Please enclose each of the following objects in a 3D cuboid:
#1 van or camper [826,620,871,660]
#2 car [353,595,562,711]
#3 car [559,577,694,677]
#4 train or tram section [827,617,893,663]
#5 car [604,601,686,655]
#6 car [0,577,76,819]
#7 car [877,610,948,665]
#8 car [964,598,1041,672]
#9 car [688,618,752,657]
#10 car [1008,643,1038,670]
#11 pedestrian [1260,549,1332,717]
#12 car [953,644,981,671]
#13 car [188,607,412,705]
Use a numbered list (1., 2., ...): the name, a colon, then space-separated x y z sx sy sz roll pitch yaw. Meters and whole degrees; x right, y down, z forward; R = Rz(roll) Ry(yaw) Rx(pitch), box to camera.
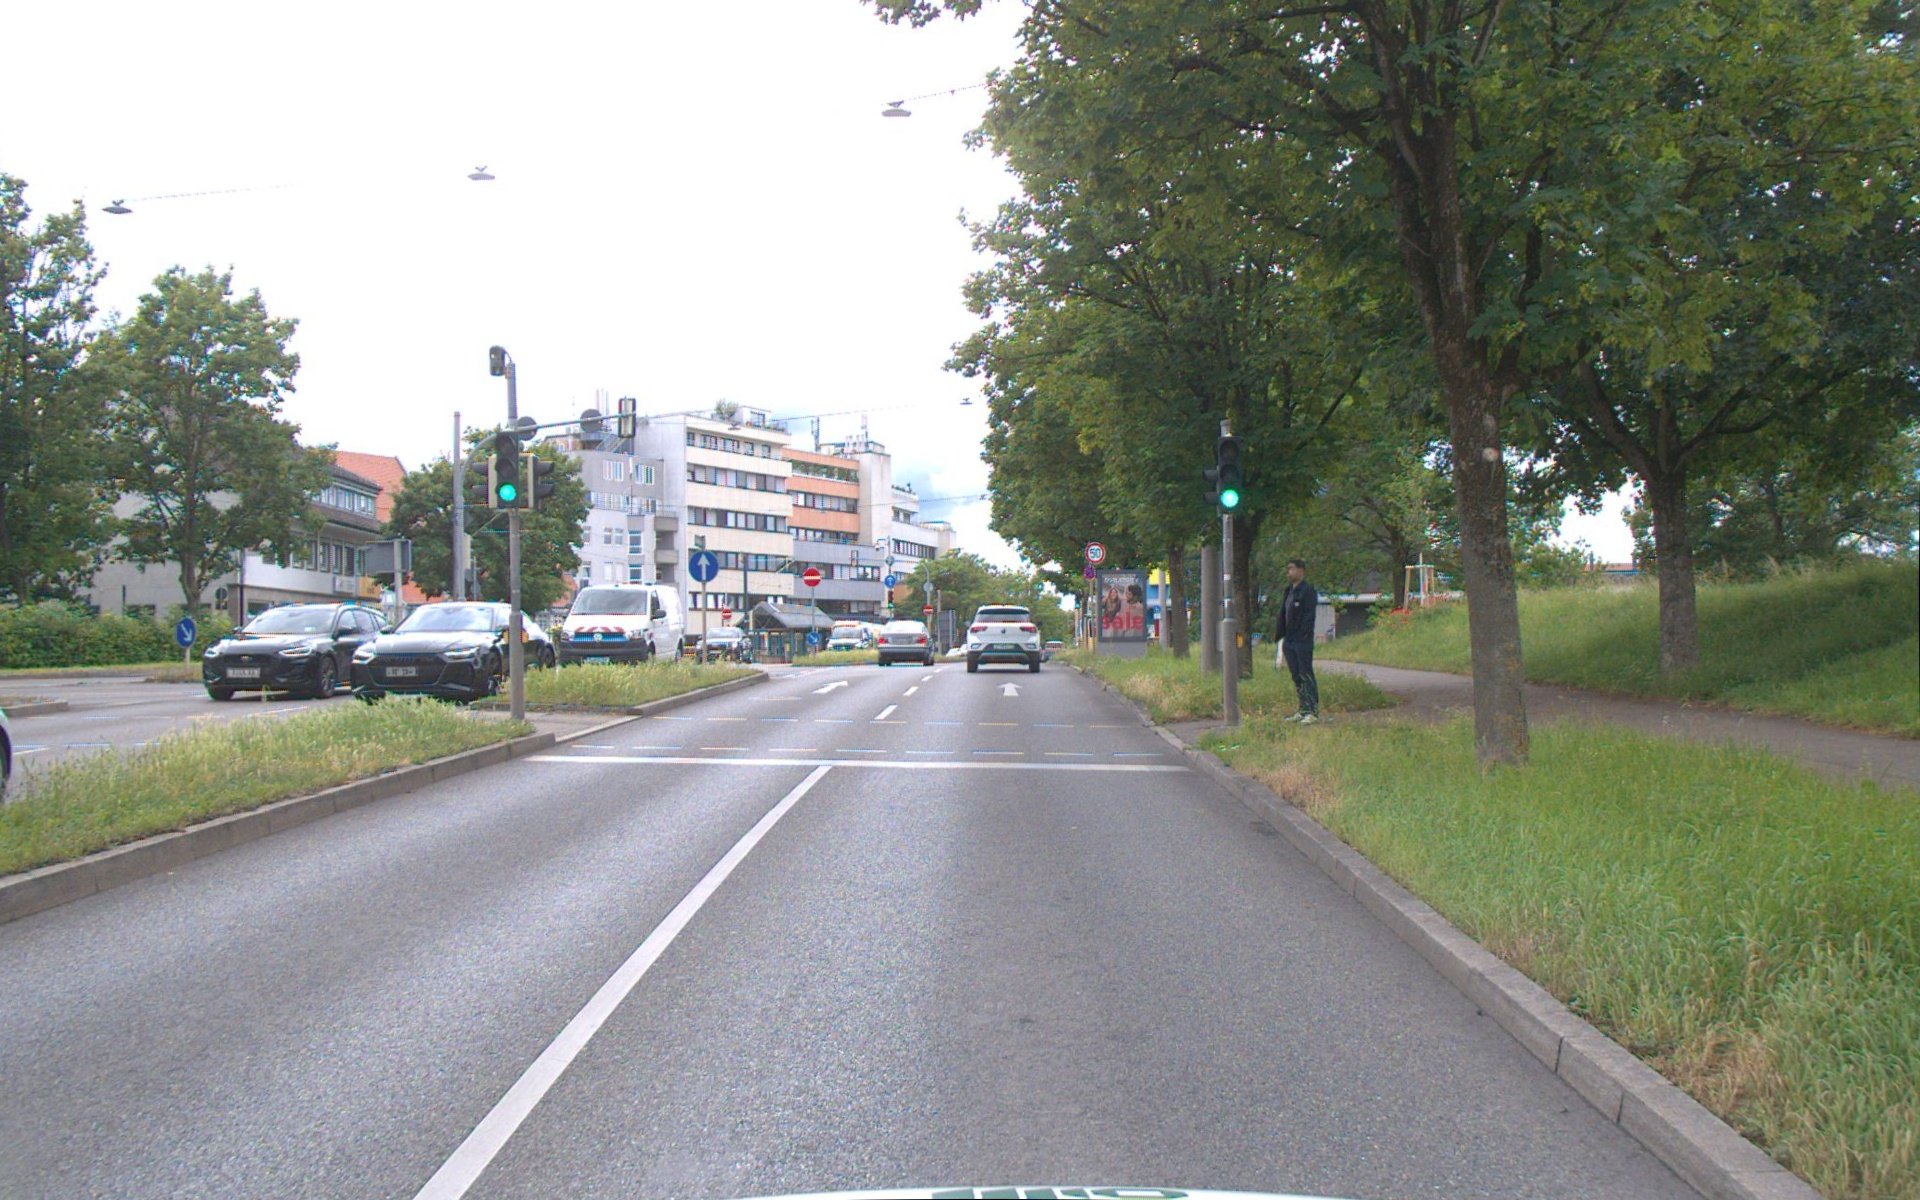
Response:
1. van or camper: -5.691 2.046 84.726 1.887 1.972 5.248 0 -2 0
2. car: -7.422 0.720 24.893 1.741 1.507 4.481 -2 0 0
3. car: -7.203 0.541 36.185 1.797 2.037 4.859 0 0 2
4. train or tram section: -8.046 3.355 135.411 2.505 3.471 13.091 -2 -2 9
5. car: -9.401 0.841 49.637 1.709 1.489 3.999 -2 -1 -1
6. car: -7.143 0.666 9.831 1.742 1.592 3.998 -1 0 -3
7. car: -1.469 1.146 51.983 1.663 1.542 3.739 -1 1 7
8. car: 1.077 0.810 40.113 1.664 1.575 3.738 2 1 4
9. car: -9.499 1.461 65.801 1.823 1.453 4.001 -1 -1 2
10. car: 4.253 3.785 112.020 1.734 1.598 4.284 -1 1 -1
11. pedestrian: 3.854 0.370 19.014 0.630 1.888 0.672 -1 0 -5
12. car: 0.556 4.439 128.345 1.952 1.617 4.838 1 4 2
13. car: -10.418 0.837 26.440 1.746 1.403 3.953 0 0 5
